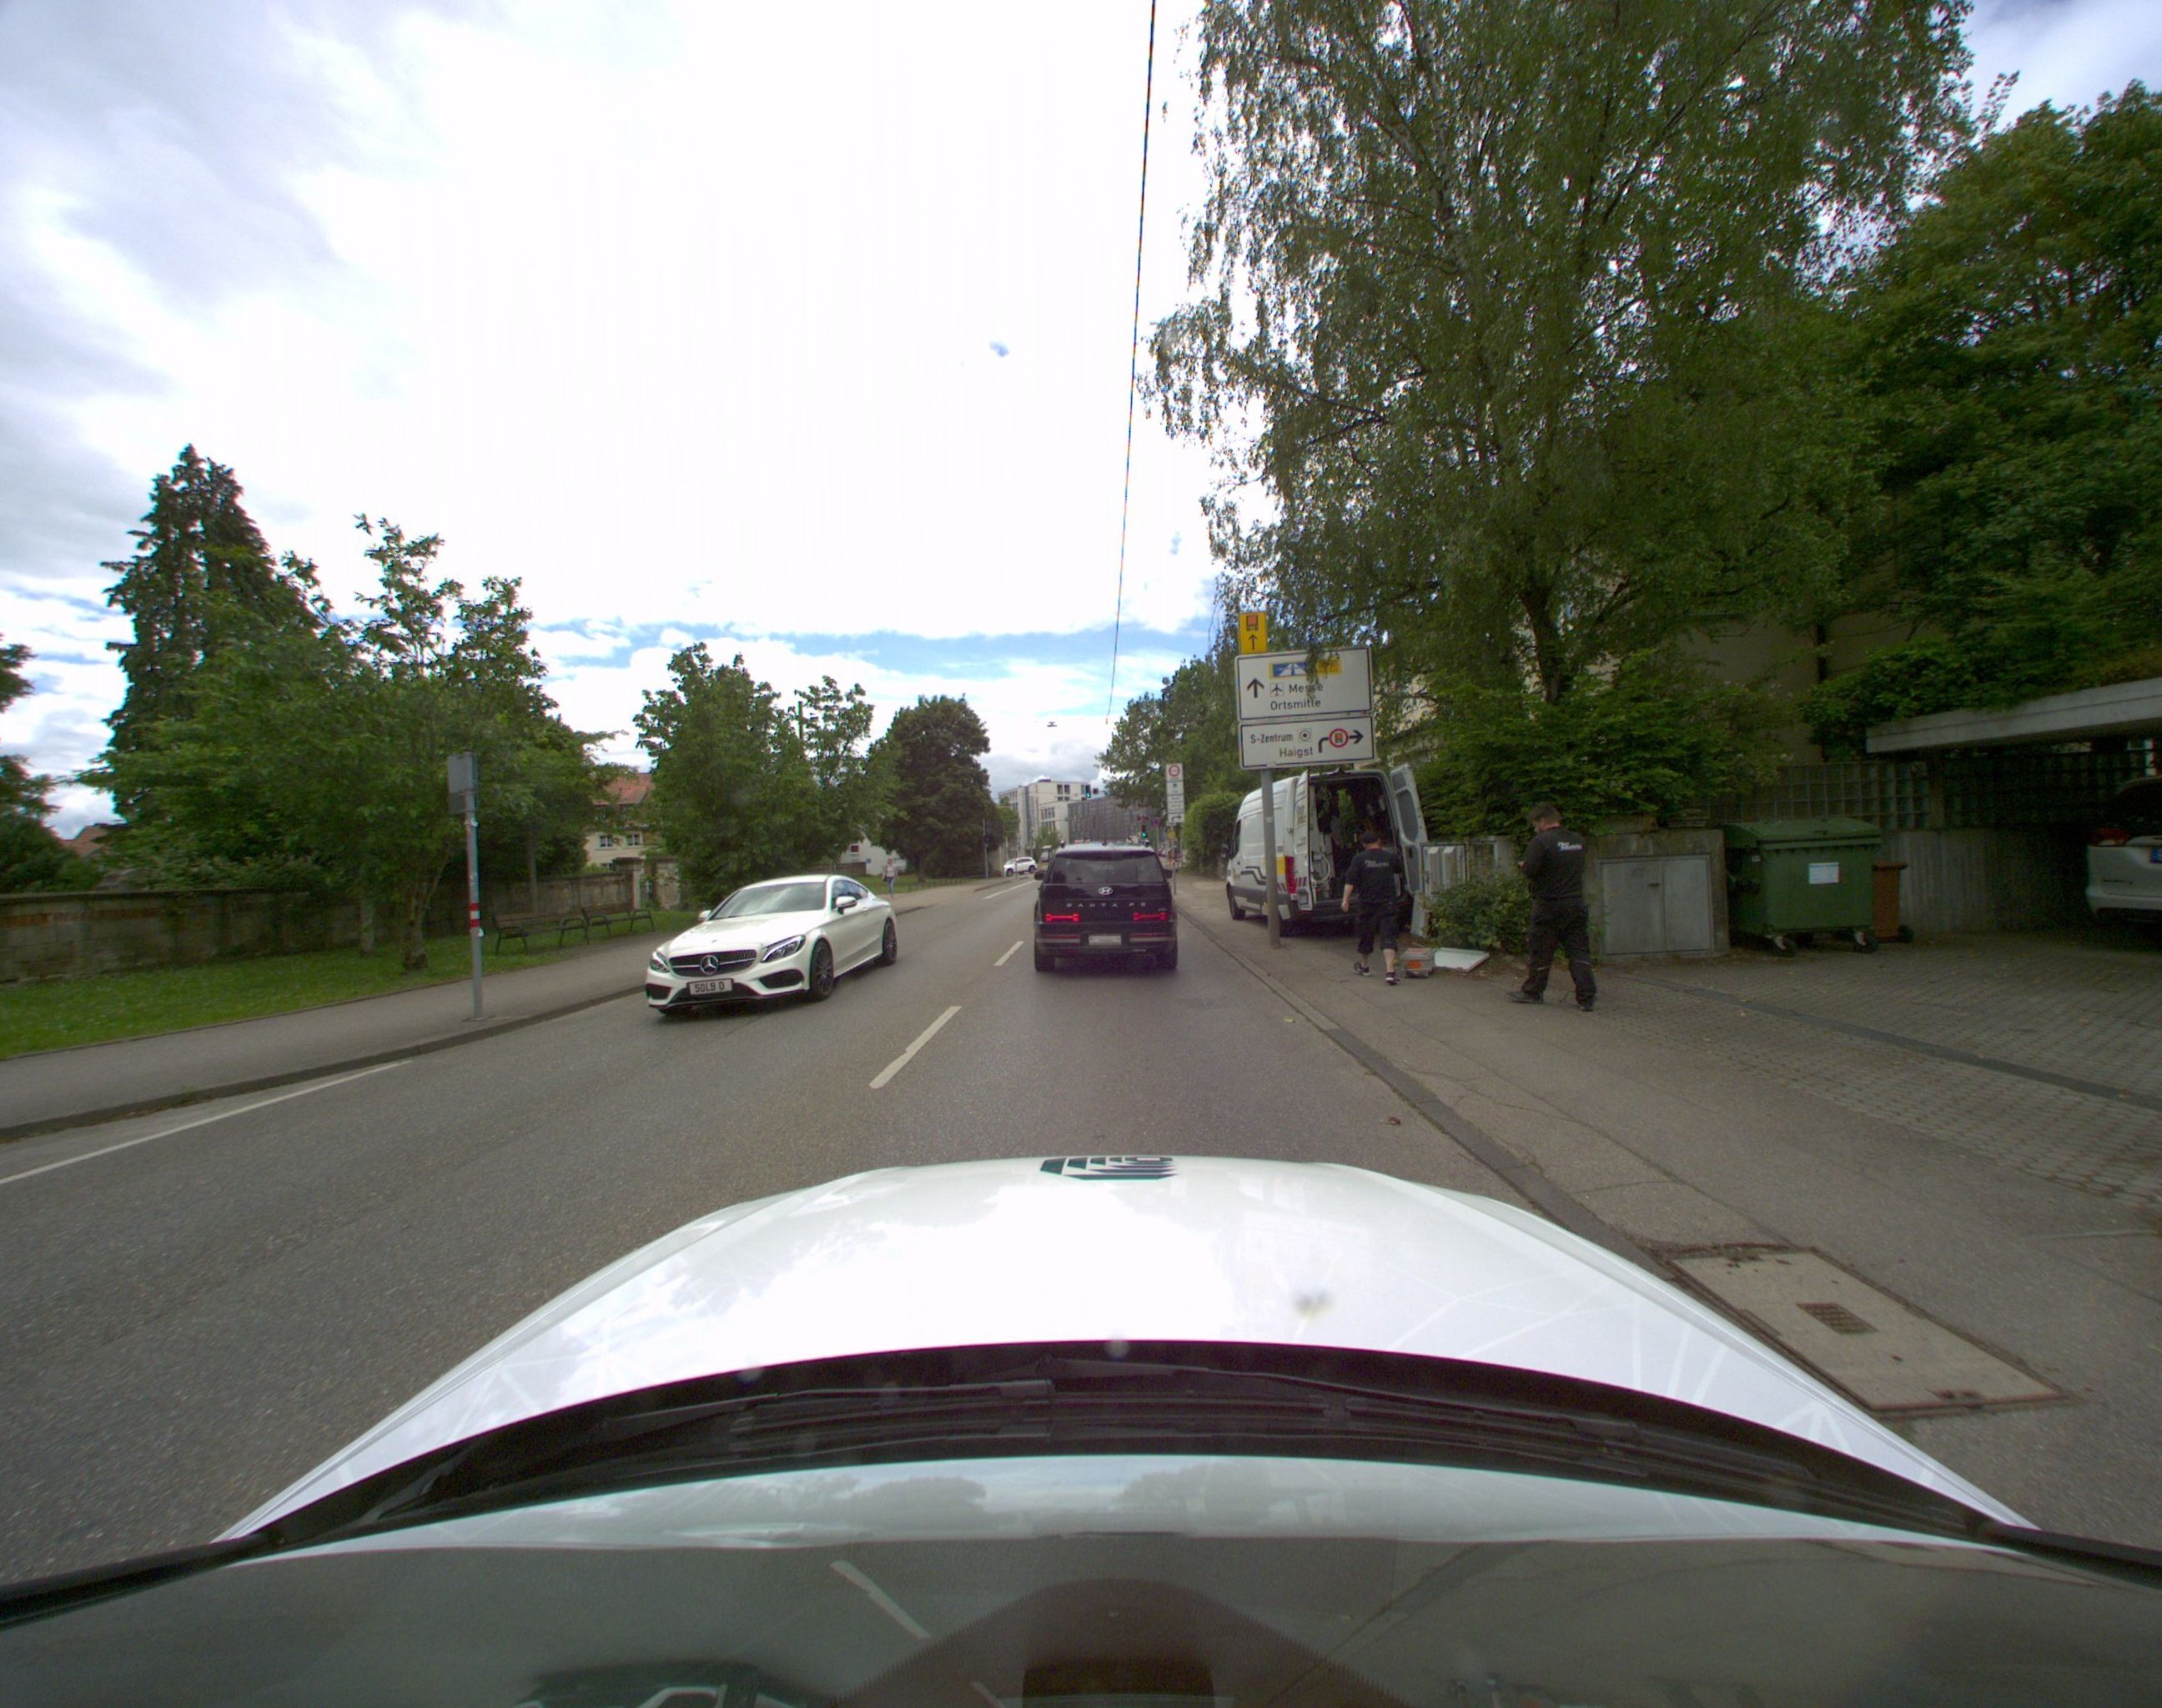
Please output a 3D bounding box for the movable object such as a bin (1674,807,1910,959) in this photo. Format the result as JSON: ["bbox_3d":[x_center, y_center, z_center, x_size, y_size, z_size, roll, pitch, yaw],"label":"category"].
[{"bbox_3d":[7.814,0.300,9.062,1.415,1.462,1.298,-4,0,1],"label":"movable object such as a bin"}]

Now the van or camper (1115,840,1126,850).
[{"bbox_3d":[7.888,-1.745,161.898,1.791,1.998,3.821,1,0,-2],"label":"van or camper"}]

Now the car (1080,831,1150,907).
[{"bbox_3d":[0.990,0.405,24.125,1.890,2.042,3.996,1,0,2],"label":"car"}]

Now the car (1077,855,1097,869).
[{"bbox_3d":[0.721,0.957,99.429,1.881,1.638,3.889,-2,0,-6],"label":"car"}]

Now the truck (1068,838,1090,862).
[{"bbox_3d":[-0.371,-0.572,140.319,3.101,3.859,9.607,-2,0,-4],"label":"truck"}]

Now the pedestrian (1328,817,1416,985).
[{"bbox_3d":[3.161,0.487,8.905,0.744,1.720,0.795,-5,1,18],"label":"pedestrian"}]

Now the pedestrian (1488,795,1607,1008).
[{"bbox_3d":[4.035,0.400,7.096,0.643,1.751,0.656,-2,-1,9],"label":"pedestrian"}]

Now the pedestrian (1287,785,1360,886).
[{"bbox_3d":[4.085,-0.304,13.752,0.740,1.643,0.794,-3,-1,-26],"label":"pedestrian"}]

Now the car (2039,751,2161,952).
[{"bbox_3d":[11.600,-0.089,7.164,3.974,1.788,2.000,-2,0,0],"label":"car"}]

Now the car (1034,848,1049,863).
[{"bbox_3d":[-6.528,0.263,133.718,2.328,2.315,4.951,-2,0,-4],"label":"car"}]

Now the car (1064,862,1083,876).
[{"bbox_3d":[-0.832,1.613,87.936,1.880,1.420,3.994,-2,0,-4],"label":"car"}]

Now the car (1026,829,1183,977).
[{"bbox_3d":[0.357,0.603,11.862,1.890,1.776,3.996,1,0,2],"label":"car"}]

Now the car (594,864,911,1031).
[{"bbox_3d":[-3.687,0.933,10.305,1.808,1.419,4.830,-5,0,2],"label":"car"}]

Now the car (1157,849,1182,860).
[{"bbox_3d":[14.684,0.077,135.606,3.968,1.584,1.892,-3,0,4],"label":"car"}]

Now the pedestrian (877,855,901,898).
[{"bbox_3d":[-8.107,0.939,34.436,0.764,1.748,0.904,-1,-1,1],"label":"pedestrian"}]

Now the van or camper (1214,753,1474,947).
[{"bbox_3d":[4.198,-0.004,14.633,2.333,2.494,6.601,-5,-1,0],"label":"van or camper"}]

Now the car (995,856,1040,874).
[{"bbox_3d":[-6.259,1.084,80.246,1.820,1.538,4.294,-2,0,43],"label":"car"}]
